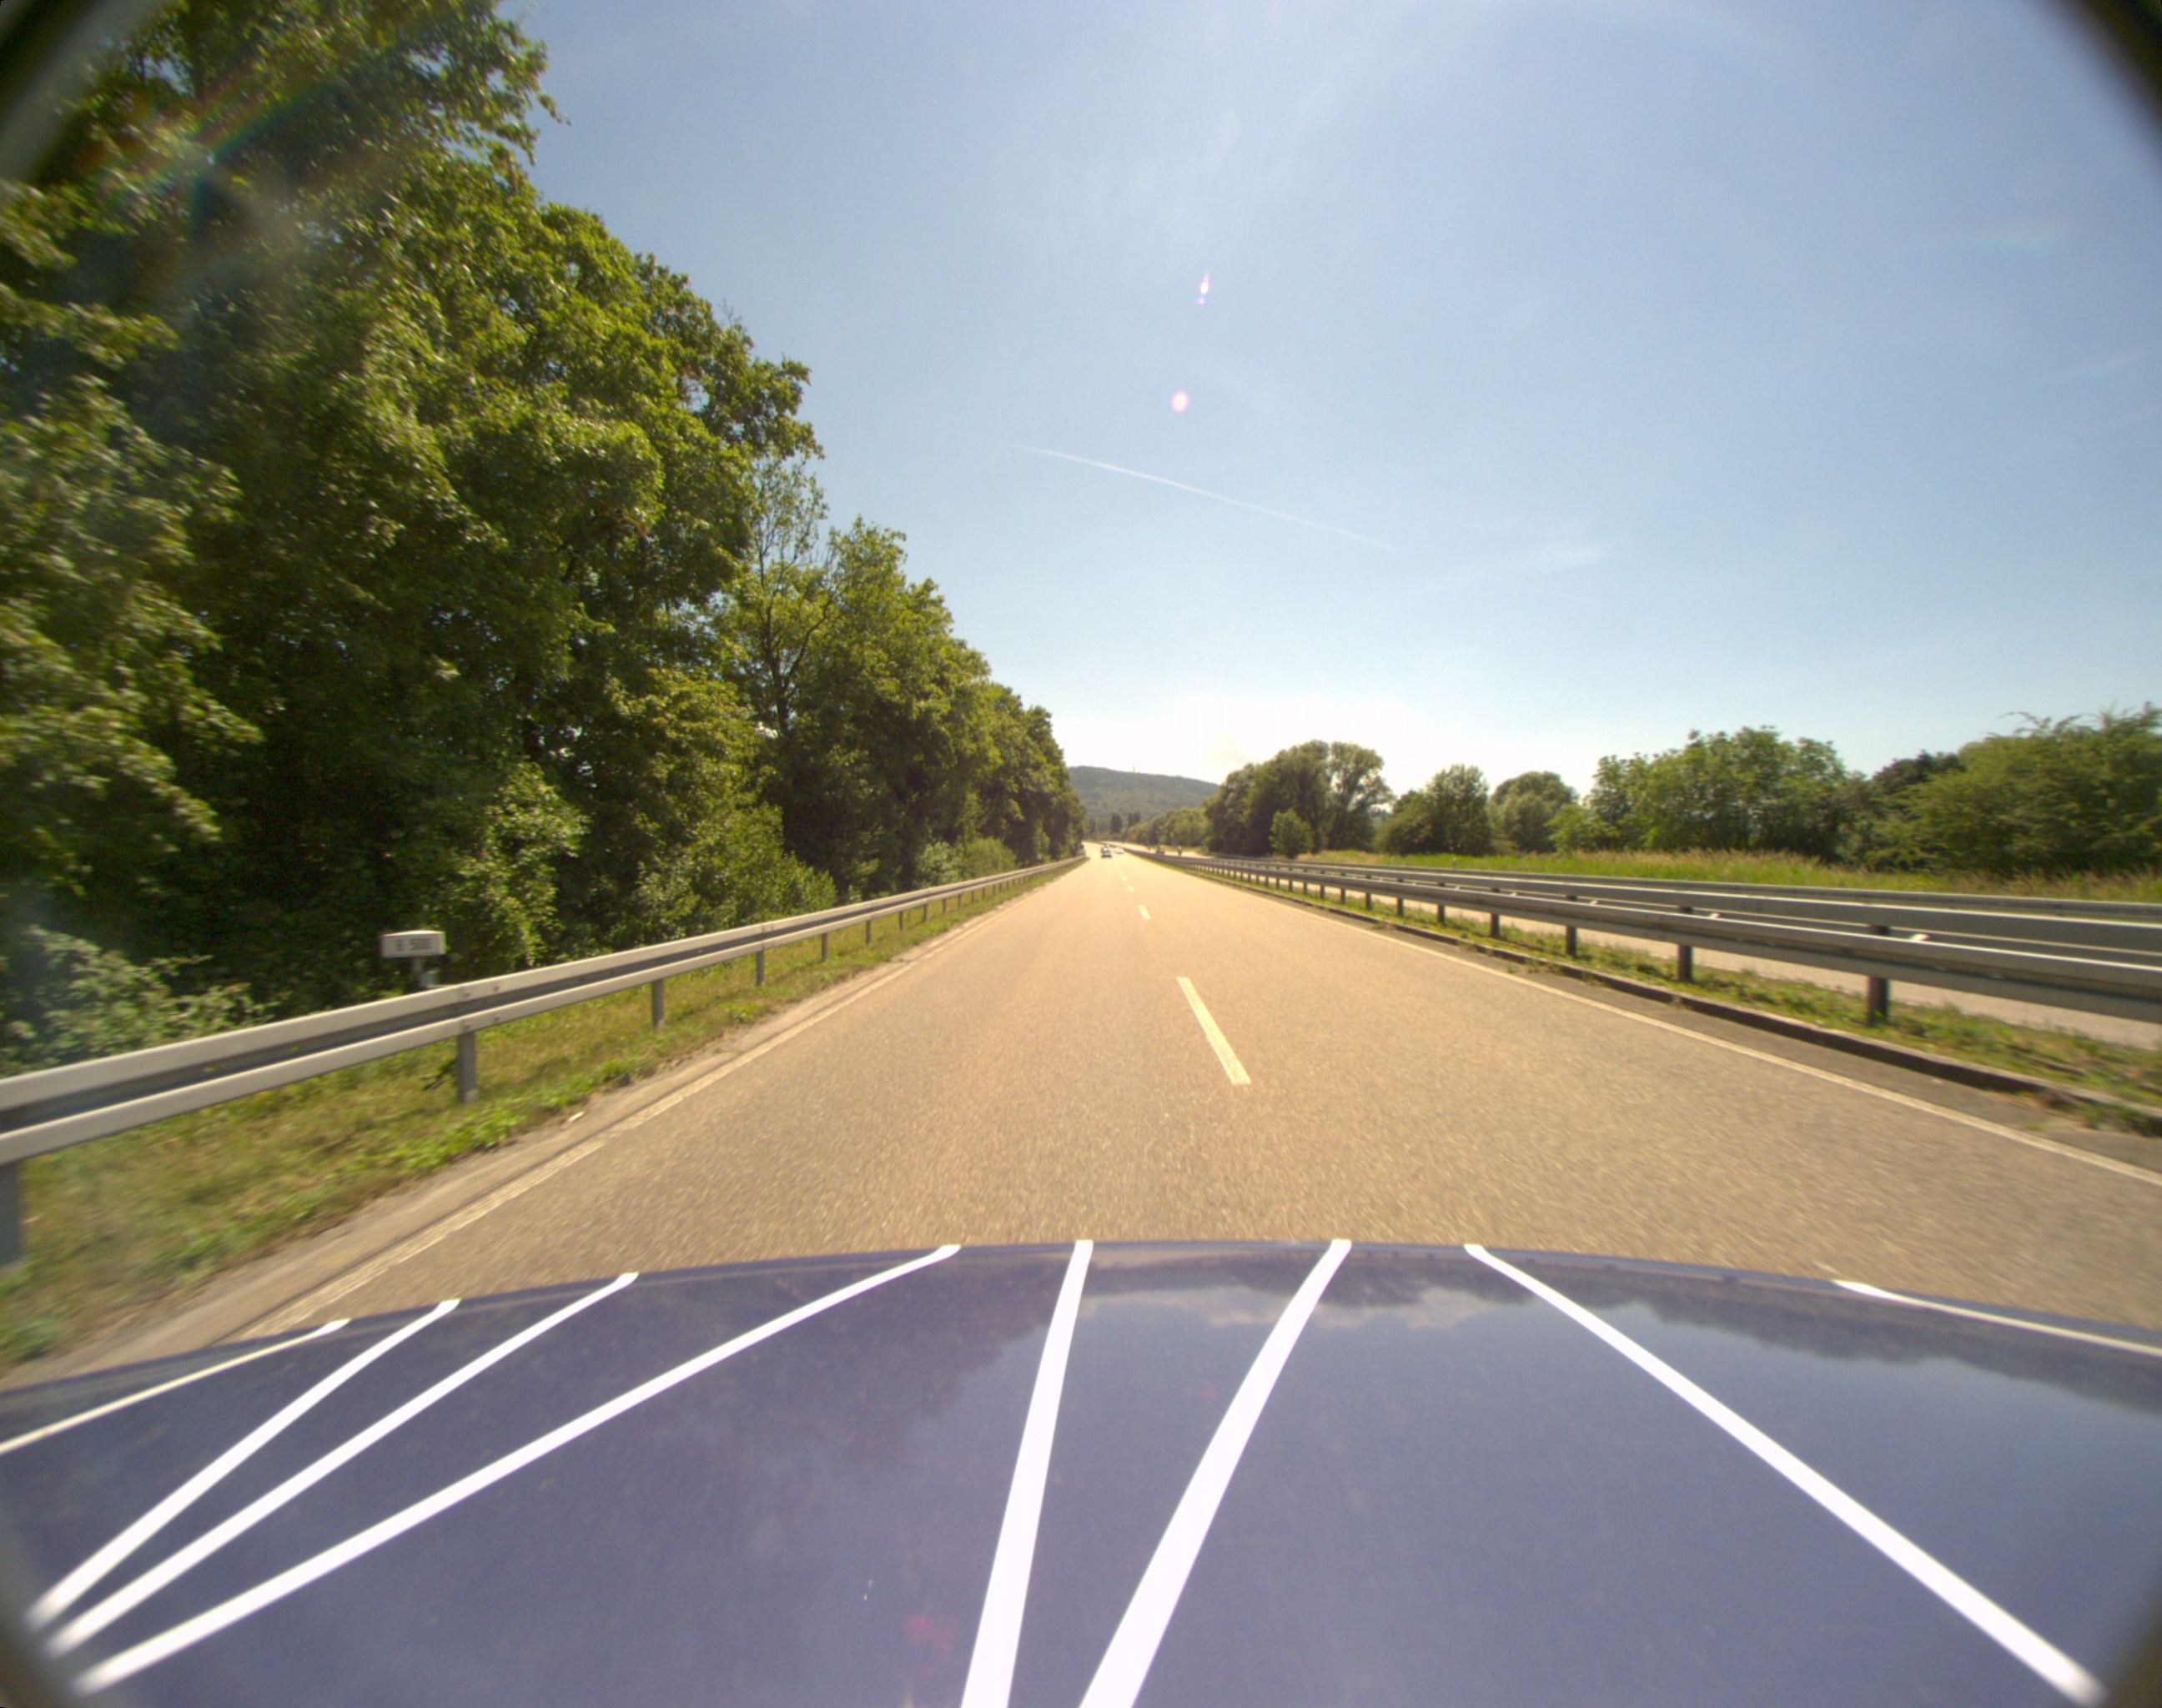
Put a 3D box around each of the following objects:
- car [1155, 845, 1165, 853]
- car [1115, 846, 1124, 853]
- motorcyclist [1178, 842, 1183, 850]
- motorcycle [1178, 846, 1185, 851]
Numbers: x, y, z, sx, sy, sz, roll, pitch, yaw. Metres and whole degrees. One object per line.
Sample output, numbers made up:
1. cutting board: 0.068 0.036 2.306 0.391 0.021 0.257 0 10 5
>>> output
1. car: 14.706 -0.937 142.130 1.632 1.324 3.535 -1 1 2
2. car: 9.527 -1.056 186.880 1.908 1.687 3.891 -2 2 4
3. motorcyclist: 20.370 -1.634 154.882 0.947 1.608 0.809 0 1 1
4. motorcycle: 20.377 -1.119 154.813 1.066 1.058 3.818 0 1 2
